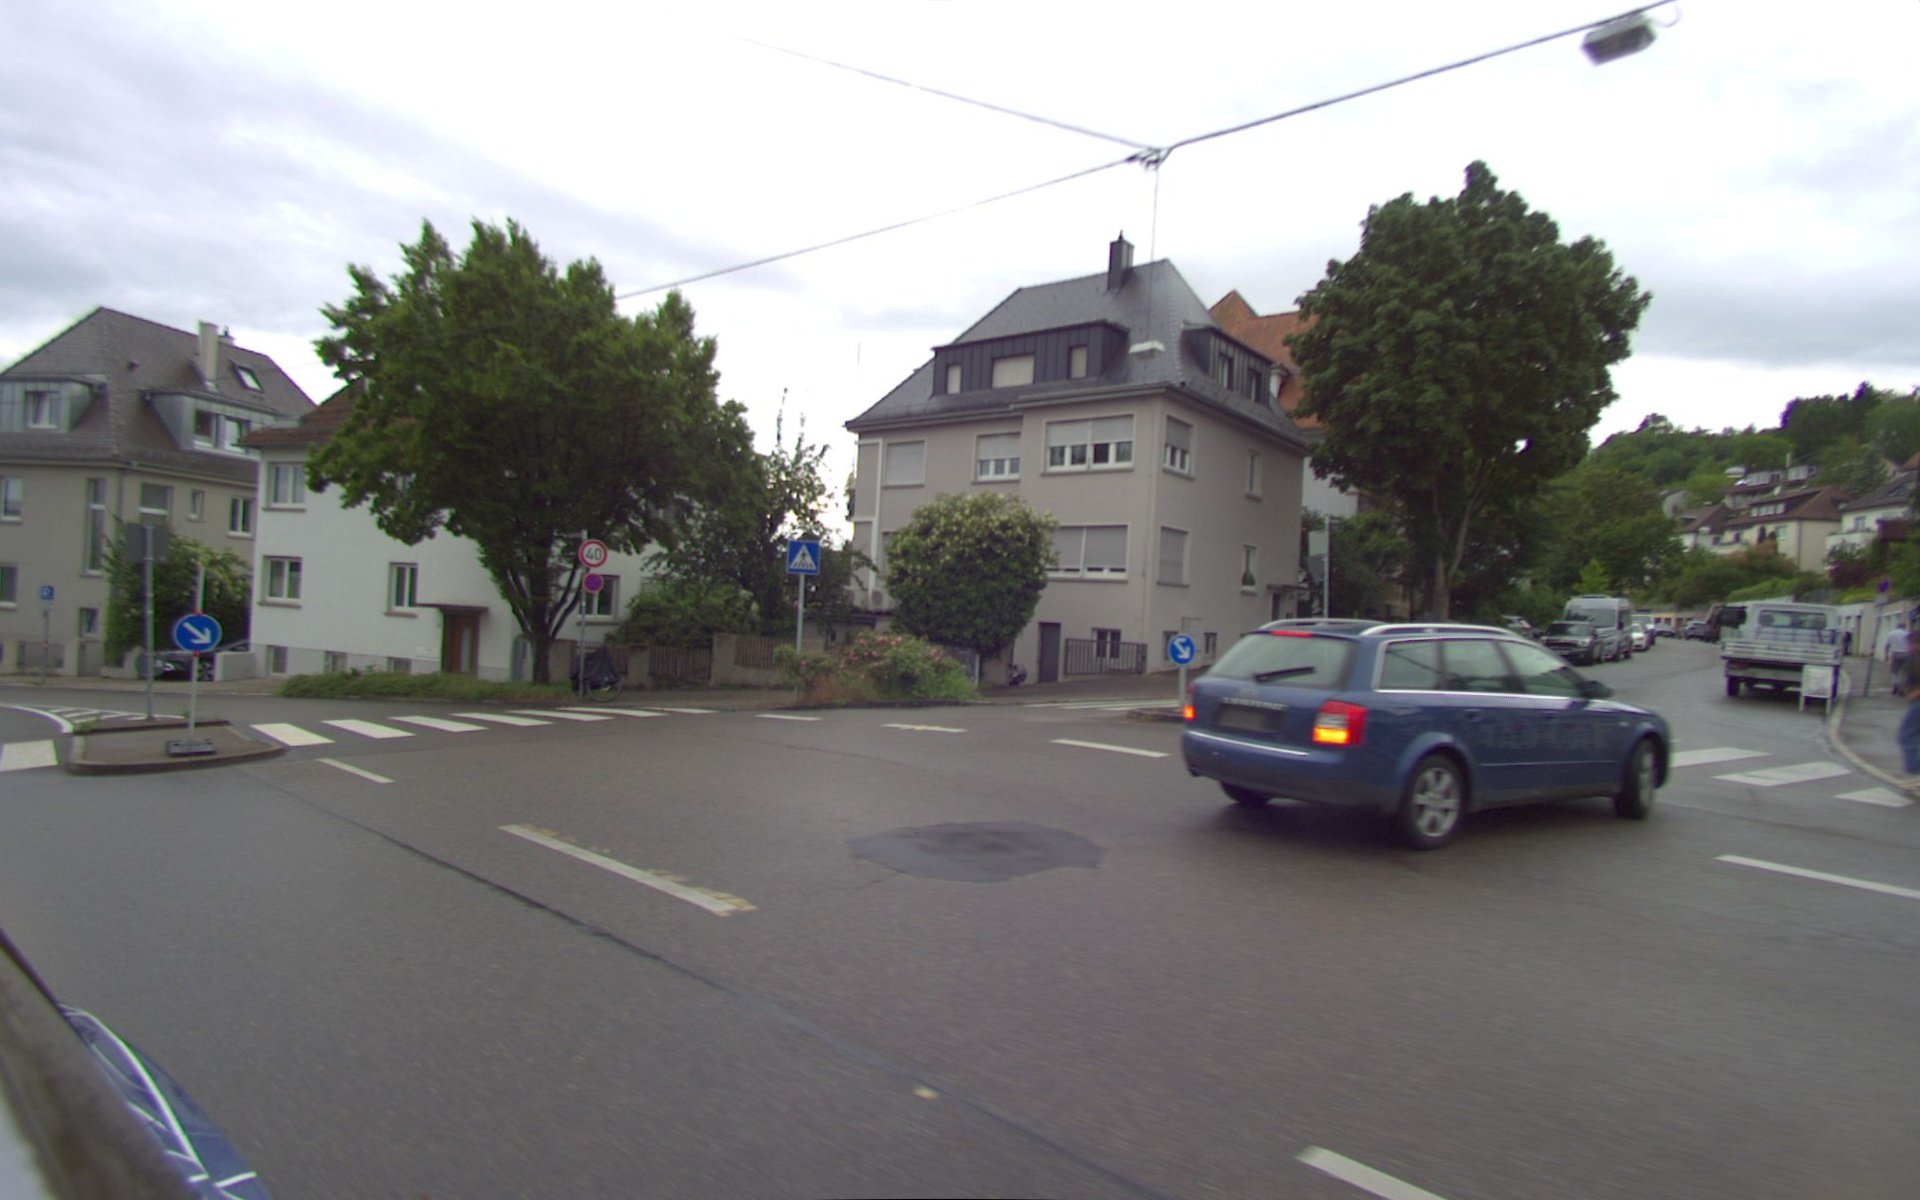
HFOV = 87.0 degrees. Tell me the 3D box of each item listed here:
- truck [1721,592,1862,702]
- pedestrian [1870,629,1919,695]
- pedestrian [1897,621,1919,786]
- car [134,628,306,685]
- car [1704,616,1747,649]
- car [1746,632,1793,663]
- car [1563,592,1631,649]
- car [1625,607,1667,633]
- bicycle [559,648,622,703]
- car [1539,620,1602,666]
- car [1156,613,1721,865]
[{"bbox_3d":[20.113,1.048,24.369,2.314,2.286,6.715,-2,-2,41],"label":"truck"},{"bbox_3d":[22.601,1.481,24.415,0.891,1.516,0.964,-2,-1,44],"label":"pedestrian"},{"bbox_3d":[10.217,1.075,10.398,0.616,1.702,0.585,2,-3,-8],"label":"pedestrian"},{"bbox_3d":[-24.449,1.812,33.619,1.986,1.636,4.224,0,0,21],"label":"car"},{"bbox_3d":[57.296,2.407,75.778,1.992,2.450,3.959,-1,-2,30],"label":"car"},{"bbox_3d":[45.477,2.632,56.837,1.998,1.652,3.947,-2,-2,39],"label":"car"},{"bbox_3d":[25.643,0.839,40.659,1.835,2.139,4.977,-2,-2,37],"label":"car"},{"bbox_3d":[43.416,1.280,64.023,1.737,1.597,3.945,-2,-2,41],"label":"car"},{"bbox_3d":[-7.741,1.567,21.133,1.964,1.093,0.416,-4,-3,44],"label":"bicycle"},{"bbox_3d":[22.017,1.510,36.436,1.540,1.539,3.634,-2,-2,37],"label":"car"},{"bbox_3d":[3.646,0.844,7.626,4.011,1.450,1.823,1,-1,-28],"label":"car"}]
